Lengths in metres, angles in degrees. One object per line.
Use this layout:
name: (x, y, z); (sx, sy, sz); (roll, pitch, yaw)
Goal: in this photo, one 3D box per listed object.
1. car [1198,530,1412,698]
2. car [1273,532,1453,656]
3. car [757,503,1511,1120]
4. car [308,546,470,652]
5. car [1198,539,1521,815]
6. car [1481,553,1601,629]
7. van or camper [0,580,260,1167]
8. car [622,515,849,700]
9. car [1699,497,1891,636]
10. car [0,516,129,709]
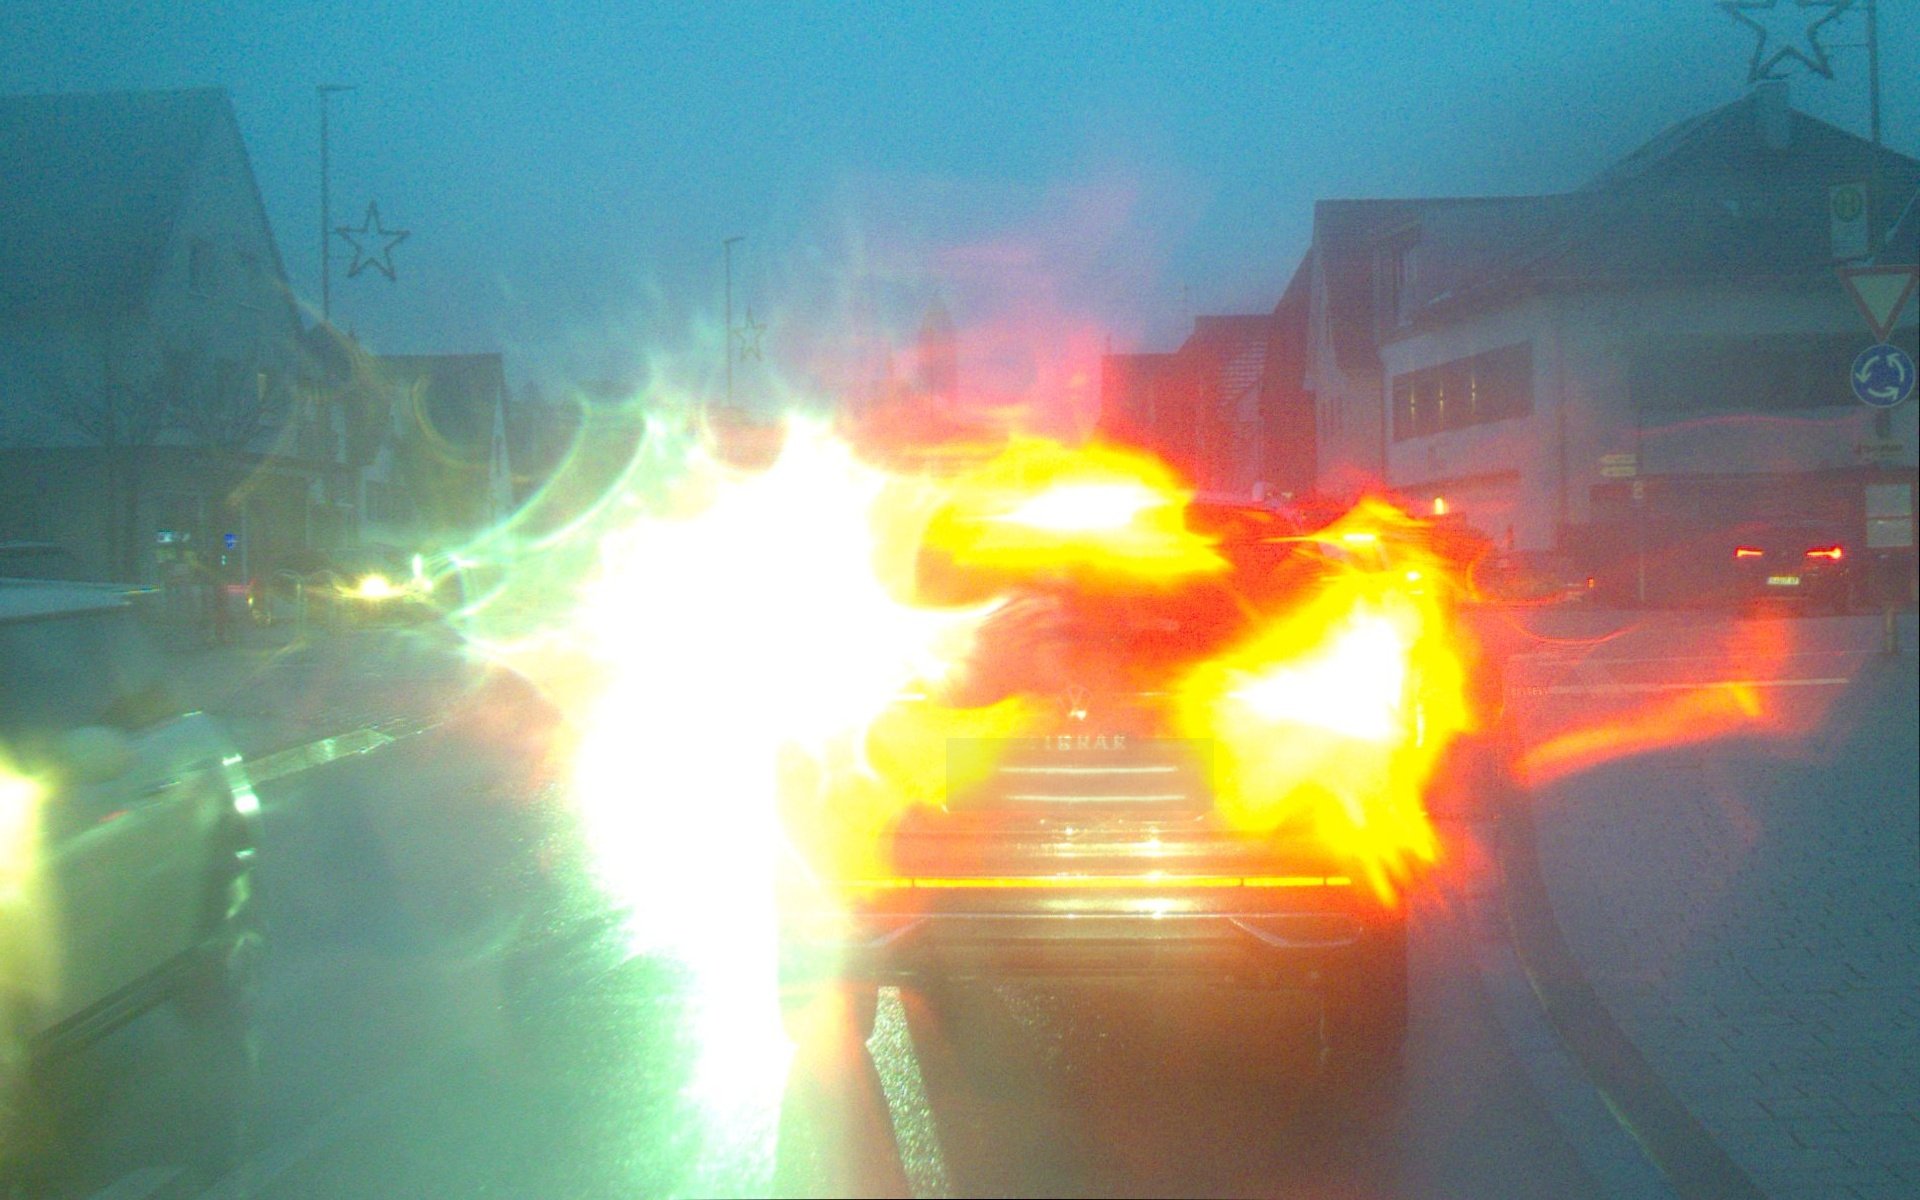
car: (3.182, 0.081, 31.508); (1.815, 1.407, 3.999); (1, 1, 6)
car: (4.818, -0.102, 41.584); (1.994, 1.387, 4.000); (-1, 1, 5)
car: (0.646, 0.498, 11.164); (1.965, 1.589, 4.312); (1, 1, 5)
car: (-10.430, -0.047, 63.036); (1.994, 1.413, 4.001); (-3, 6, 4)
car: (2.305, 0.377, 20.244); (1.683, 1.448, 3.999); (-1, 1, 5)
car: (11.994, -0.182, 71.148); (1.565, 1.408, 3.602); (-5, 0, -3)
van or camper: (-3.044, 0.666, 9.158); (1.562, 1.351, 3.422); (-2, 1, 1)
car: (-2.118, 0.024, 33.413); (1.737, 1.647, 4.000); (-1, 1, 3)
car: (13.625, -0.577, 55.897); (2.160, 1.984, 4.494); (-4, 1, 24)
car: (-10.188, 0.102, 36.528); (2.037, 1.919, 4.058); (-2, 1, -22)
